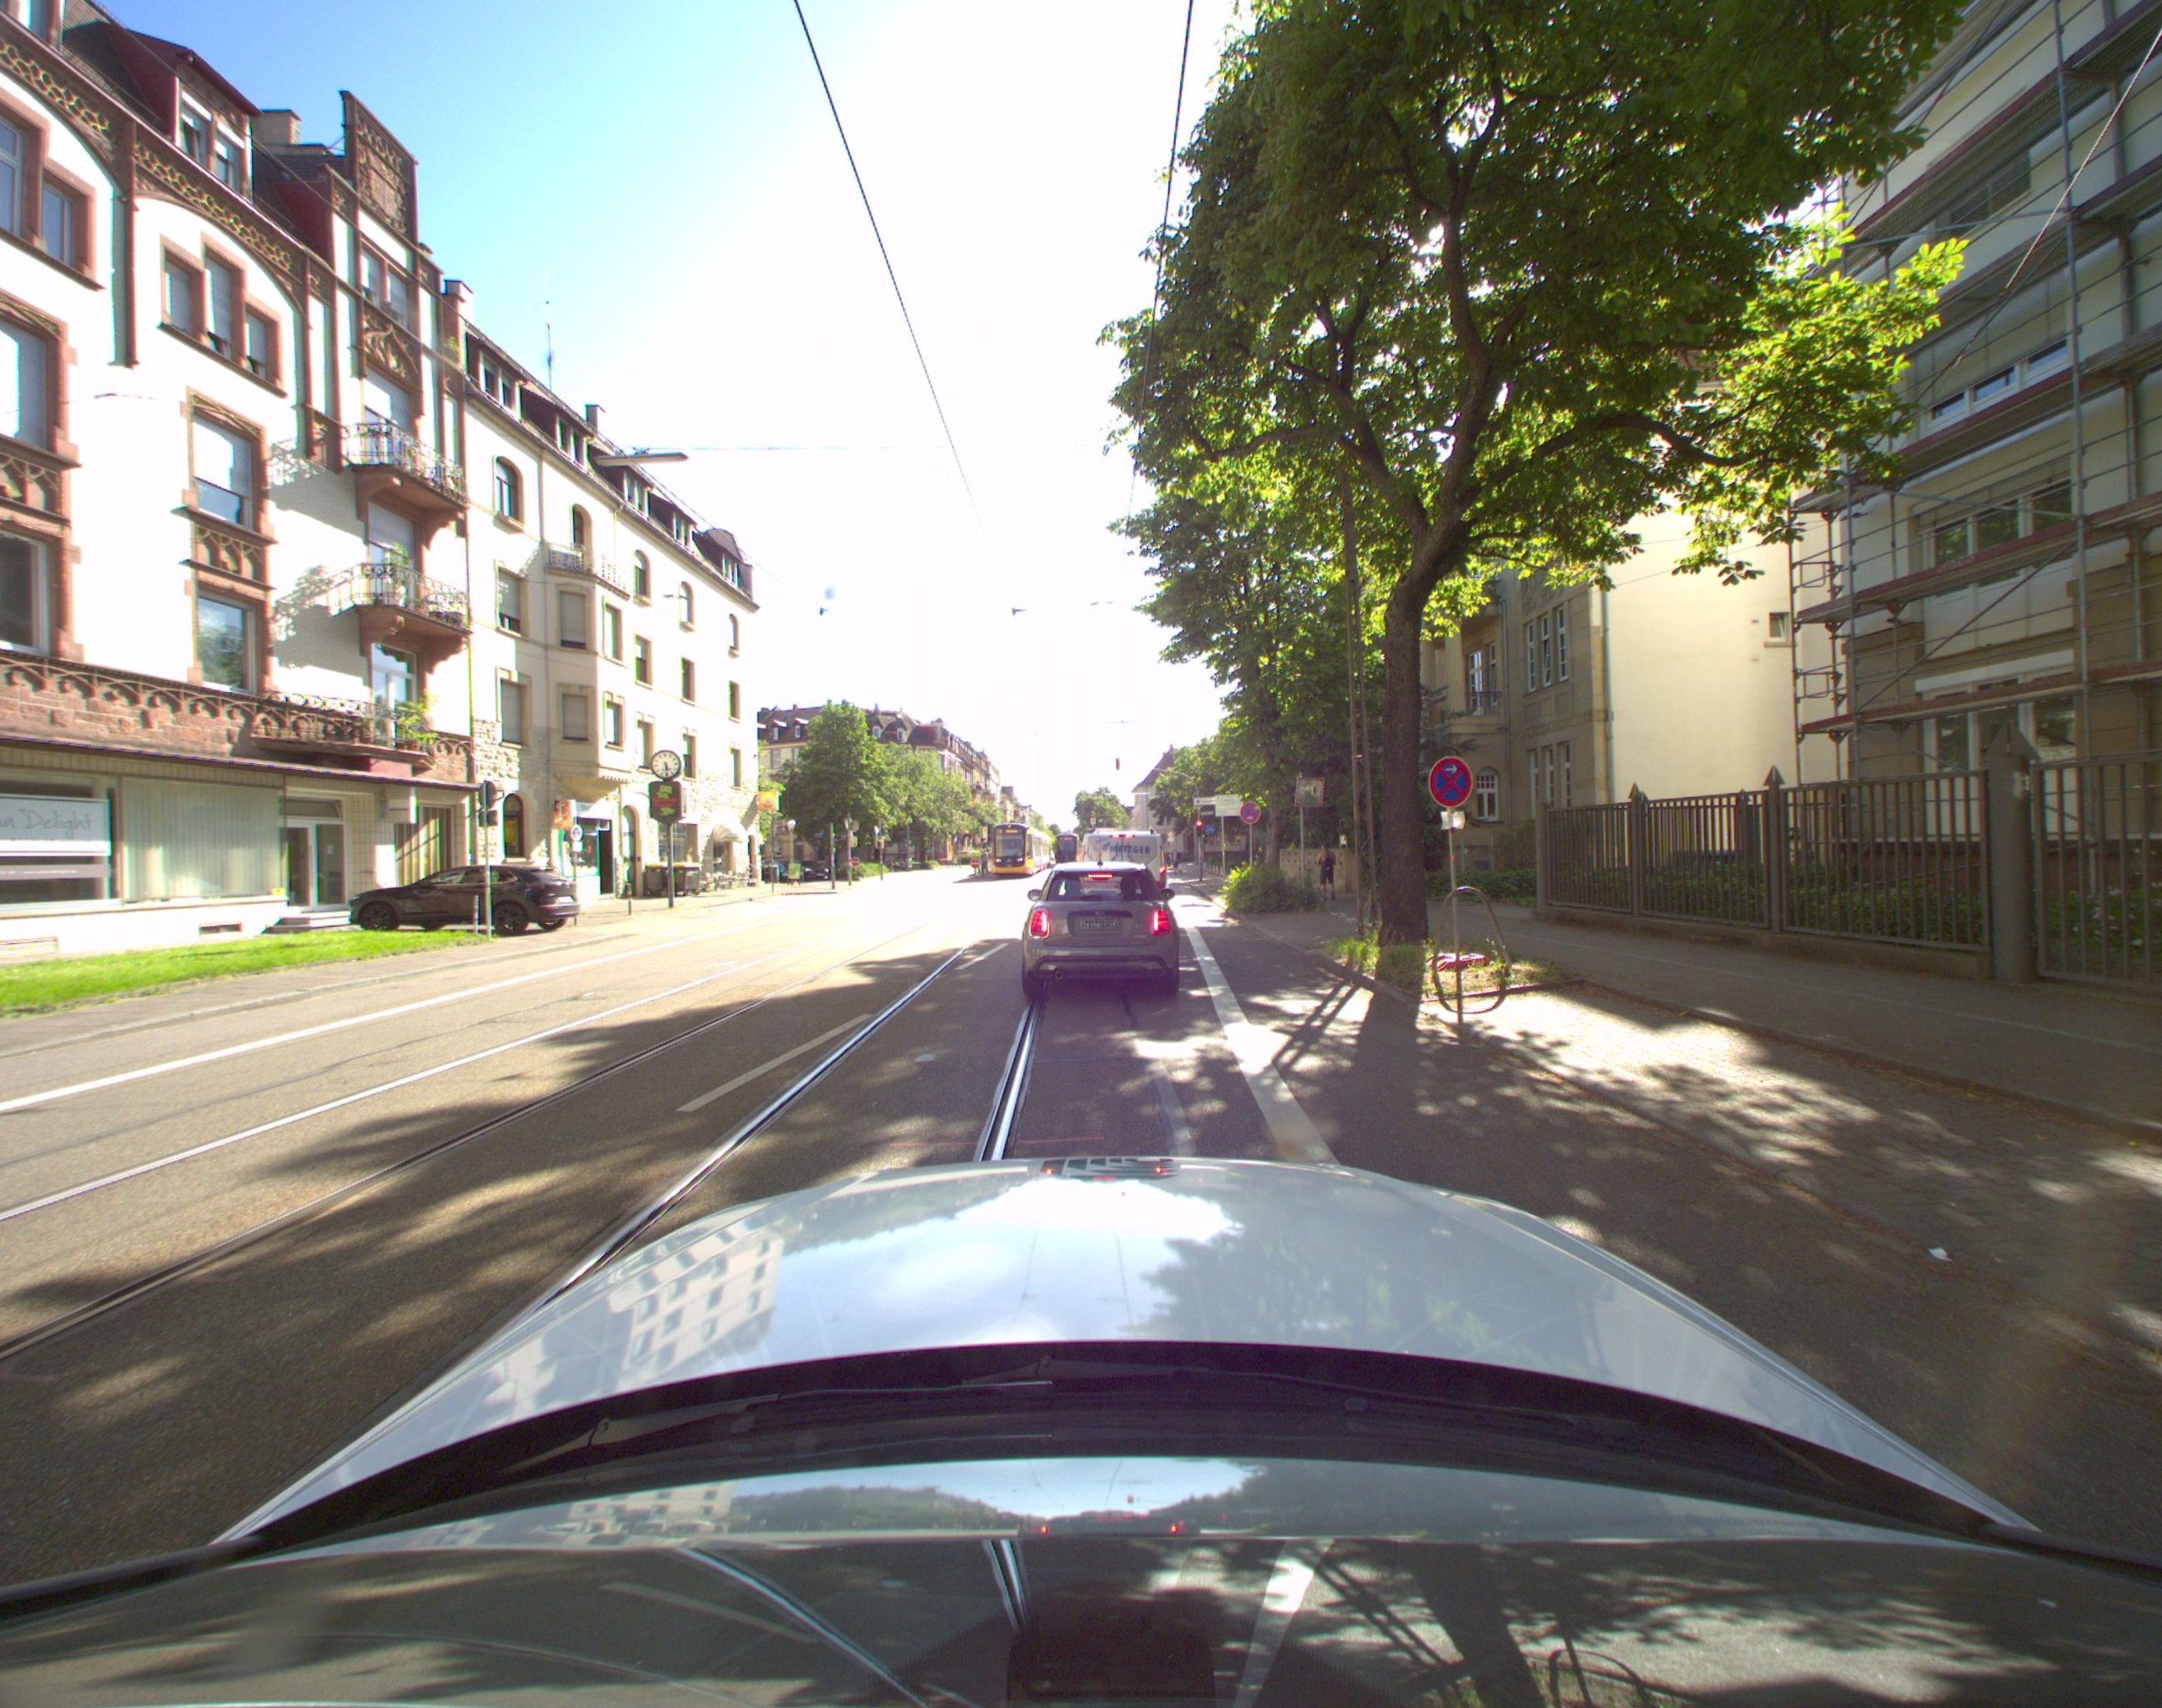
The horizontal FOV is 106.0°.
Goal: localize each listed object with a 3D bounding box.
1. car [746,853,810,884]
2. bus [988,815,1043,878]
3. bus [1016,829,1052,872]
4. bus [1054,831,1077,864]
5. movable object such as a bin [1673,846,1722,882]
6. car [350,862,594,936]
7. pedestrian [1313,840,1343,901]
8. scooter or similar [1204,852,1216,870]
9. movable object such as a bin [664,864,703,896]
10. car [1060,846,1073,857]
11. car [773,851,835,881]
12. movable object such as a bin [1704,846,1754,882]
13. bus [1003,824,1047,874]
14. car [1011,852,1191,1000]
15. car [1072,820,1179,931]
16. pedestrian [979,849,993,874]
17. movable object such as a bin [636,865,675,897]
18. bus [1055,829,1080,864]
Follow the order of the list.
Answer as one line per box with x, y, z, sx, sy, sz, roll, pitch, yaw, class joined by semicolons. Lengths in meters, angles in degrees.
-20.552;0.992;55.190;3.949;2.014;2.012;-1;-1;30;car
-4.242;-0.419;55.087;2.851;3.777;11.494;0;0;-1;bus
-4.393;-0.281;78.068;2.841;3.777;12.193;0;0;0;bus
-1.790;-0.679;92.160;2.379;3.496;7.377;0;-1;-2;bus
16.675;0.277;22.033;0.831;0.955;0.648;0;-1;0;movable object such as a bin
-13.590;0.992;18.392;3.981;1.503;1.768;1;-1;-6;car
6.981;0.454;23.023;0.590;1.671;0.647;-3;-1;1;pedestrian
9.316;0.497;58.757;0.673;1.310;1.329;0;-1;1;scooter or similar
-16.015;1.049;32.841;0.941;1.273;1.145;0;-1;5;movable object such as a bin
-2.069;-0.388;117.818;1.859;1.563;3.997;0;-1;-2;car
-19.494;0.828;57.244;3.949;2.014;2.012;-1;-1;30;car
17.541;0.271;22.045;0.831;0.955;0.648;0;-1;0;movable object such as a bin
-4.399;-0.338;66.474;2.851;3.777;11.179;0;-1;-1;bus
0.261;0.744;10.218;1.808;1.488;4.001;0;-1;2;car
0.972;0.448;18.770;2.110;2.208;4.946;0;-1;2;car
-6.904;0.533;58.974;0.878;1.802;0.902;0;-1;0;pedestrian
-16.942;1.068;32.427;0.829;1.223;1.245;0;-1;4;movable object such as a bin
-1.483;-0.682;84.732;2.379;3.496;7.377;0;-1;-2;bus
